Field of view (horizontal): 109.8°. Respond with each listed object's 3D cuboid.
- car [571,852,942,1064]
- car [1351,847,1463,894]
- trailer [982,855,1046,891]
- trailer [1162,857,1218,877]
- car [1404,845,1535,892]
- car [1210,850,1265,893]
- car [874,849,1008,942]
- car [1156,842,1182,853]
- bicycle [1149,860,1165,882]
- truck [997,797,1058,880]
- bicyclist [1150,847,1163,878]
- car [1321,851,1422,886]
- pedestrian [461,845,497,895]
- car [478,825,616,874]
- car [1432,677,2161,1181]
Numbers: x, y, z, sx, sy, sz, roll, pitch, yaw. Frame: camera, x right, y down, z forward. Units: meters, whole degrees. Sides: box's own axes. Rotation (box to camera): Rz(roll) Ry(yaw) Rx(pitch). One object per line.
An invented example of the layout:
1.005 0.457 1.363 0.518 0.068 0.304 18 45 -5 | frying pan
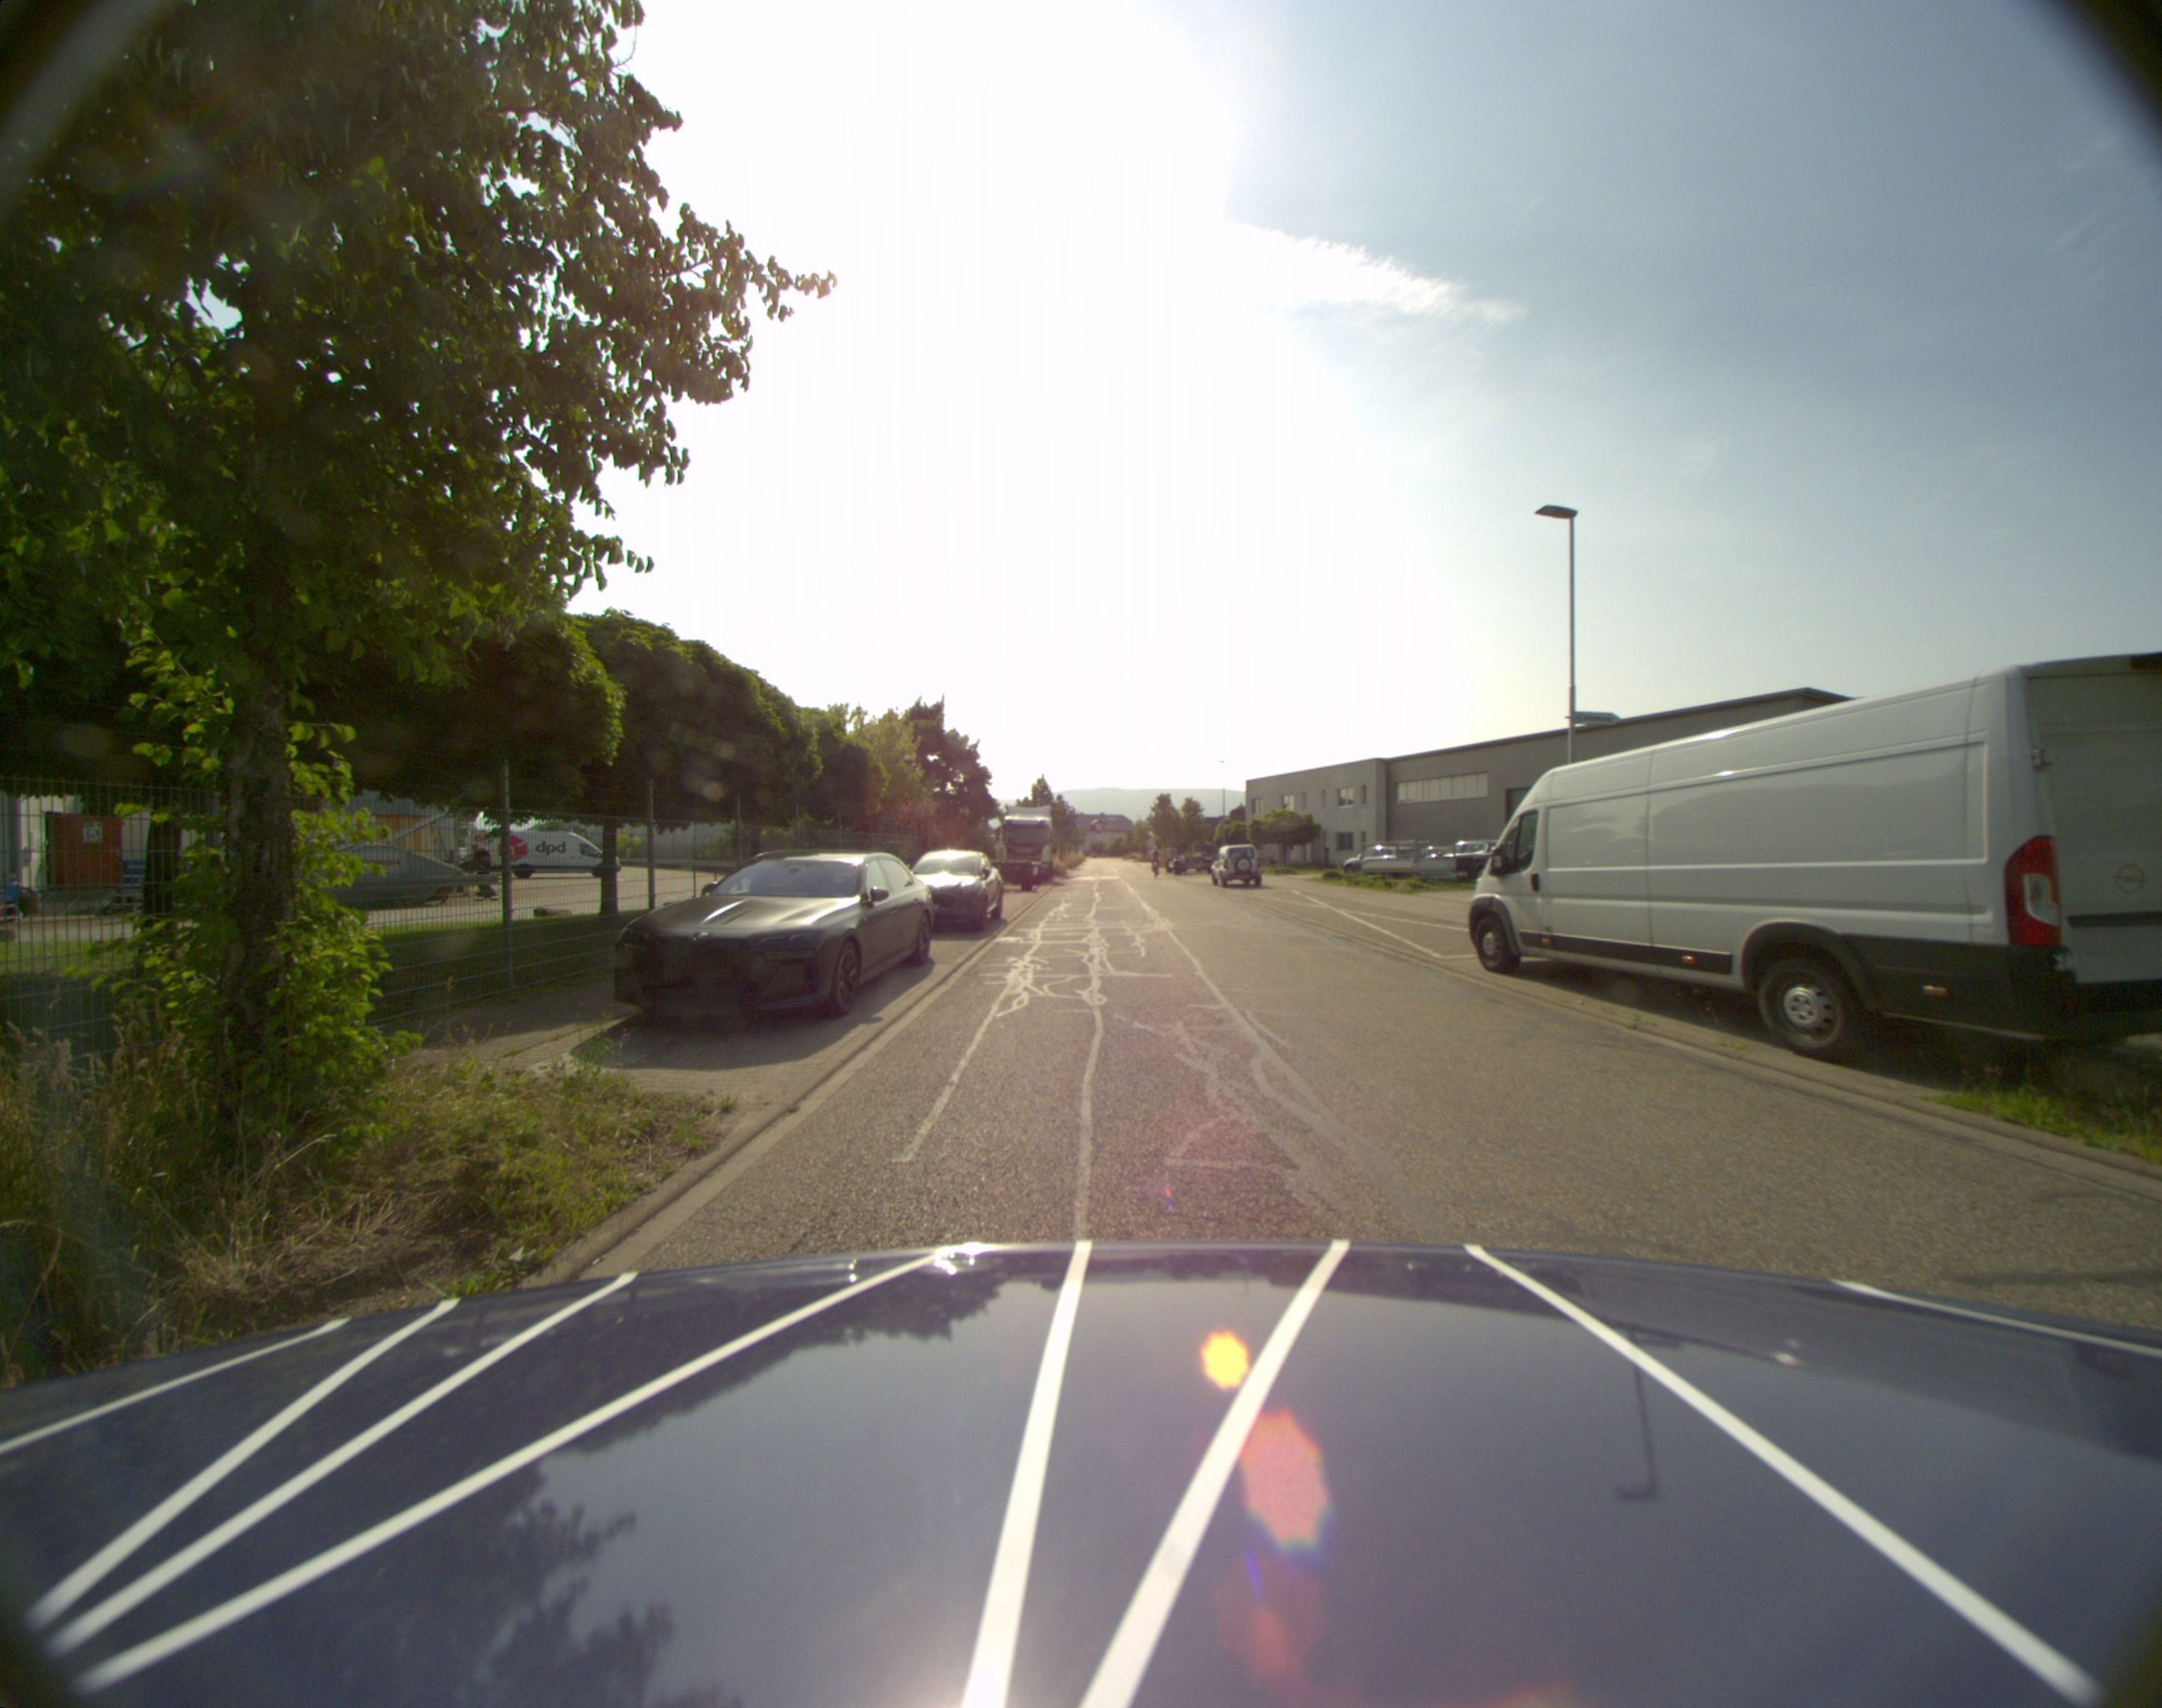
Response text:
-3.068 0.829 8.623 1.885 1.565 5.118 1 1 2 | car
12.085 0.551 28.439 1.840 1.563 3.811 -2 1 -15 | car
-2.658 0.717 31.846 1.943 1.228 7.450 1 0 0 | trailer
7.094 0.824 50.897 2.552 1.068 9.731 -2 0 1 | trailer
14.735 0.505 29.141 1.997 1.648 4.415 -1 1 -16 | car
6.462 0.687 31.648 1.601 1.641 3.644 -1 0 1 | car
-2.726 0.734 15.782 1.885 1.565 4.113 2 1 1 | car
14.285 -0.986 122.967 3.996 1.718 2.000 0 1 2 | car
4.261 0.939 42.705 0.717 1.116 2.219 2 1 1 | bicycle
-2.704 -0.793 40.001 2.699 3.941 6.047 2 1 -1 | truck
4.253 0.486 42.901 0.641 1.709 1.165 0 1 1 | bicyclist
13.064 0.600 34.469 1.983 1.468 4.415 -1 1 -16 | car
-20.854 0.547 26.332 0.860 1.712 0.630 -1 1 -30 | pedestrian
-30.490 -0.267 43.556 6.286 2.633 2.206 -1 1 -40 | car
6.001 0.332 7.192 2.108 2.580 6.502 -3 1 -2 | car
